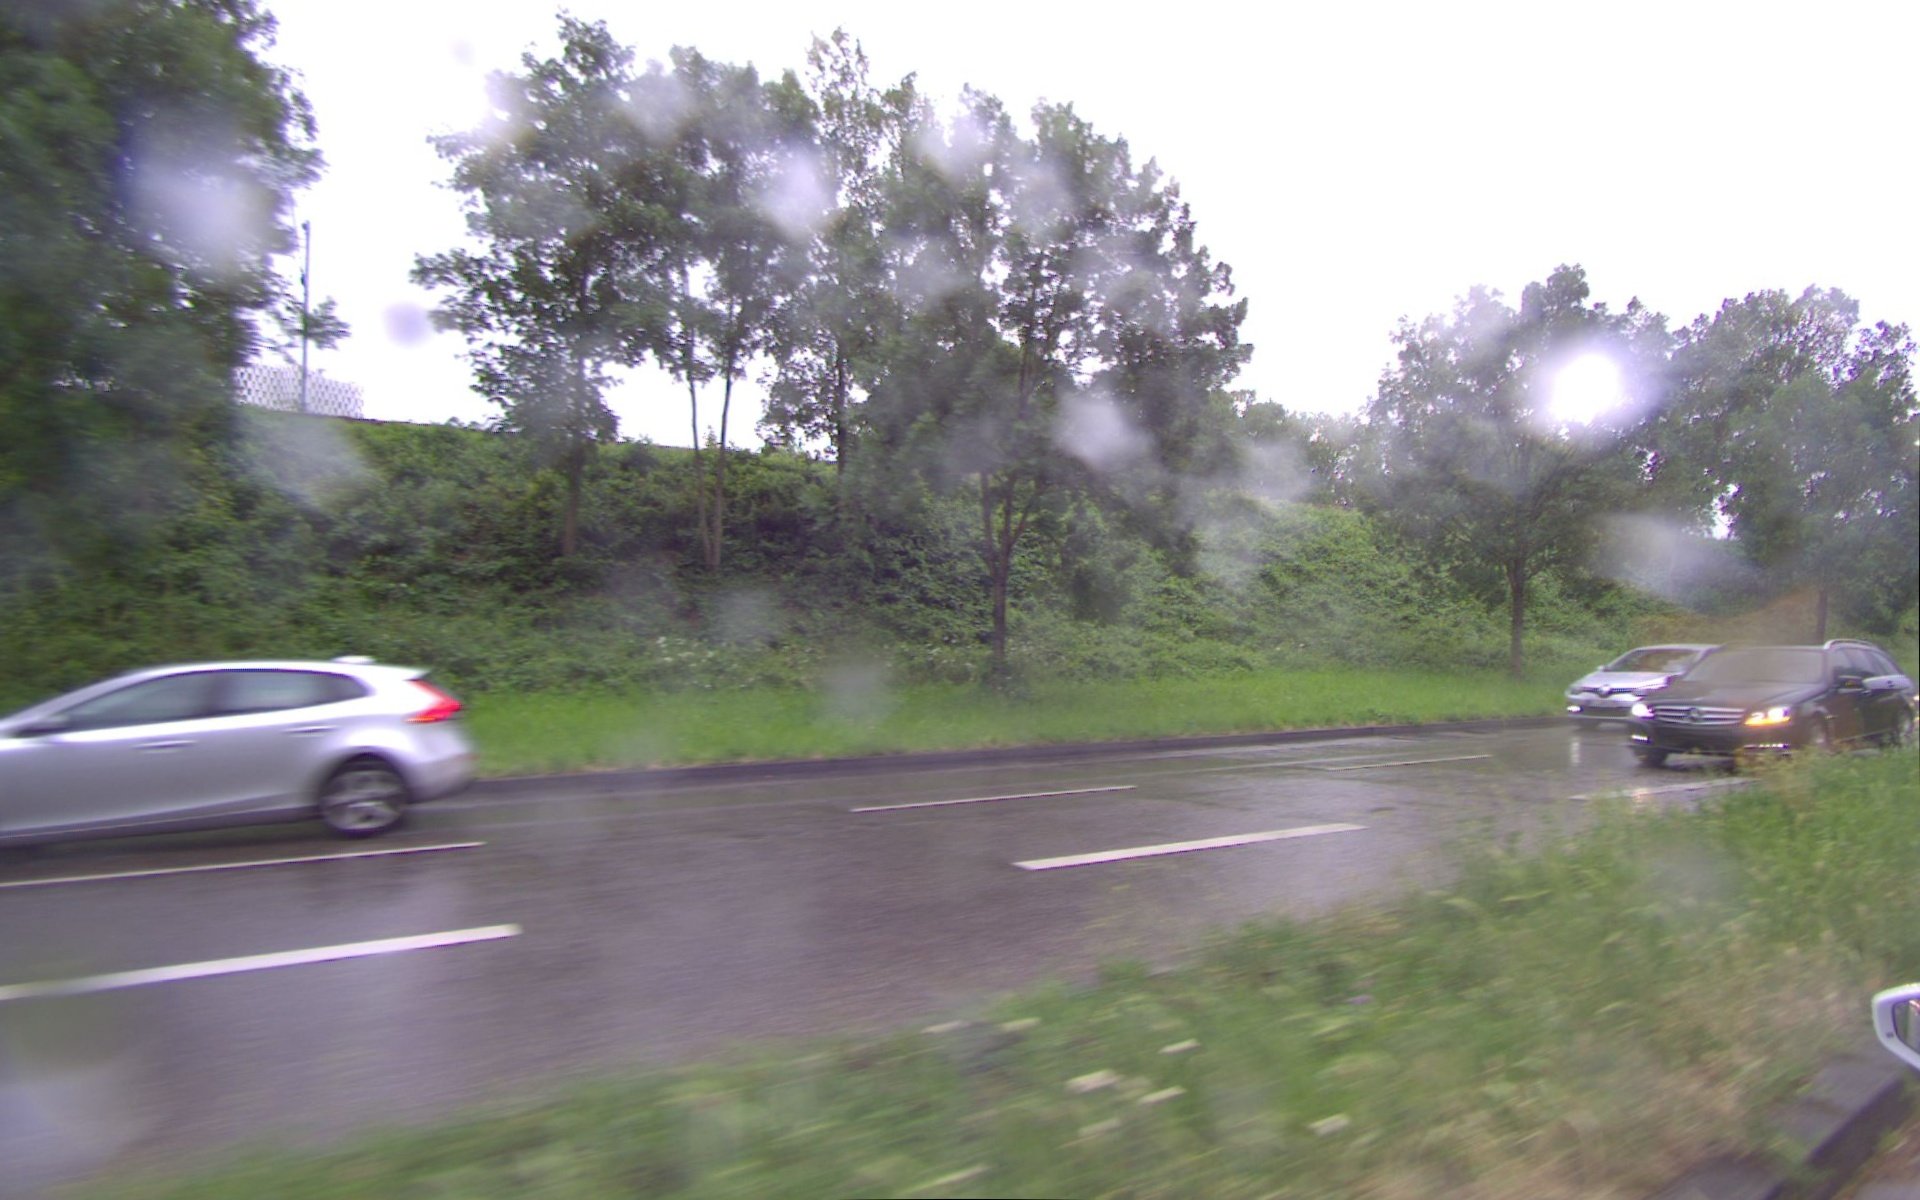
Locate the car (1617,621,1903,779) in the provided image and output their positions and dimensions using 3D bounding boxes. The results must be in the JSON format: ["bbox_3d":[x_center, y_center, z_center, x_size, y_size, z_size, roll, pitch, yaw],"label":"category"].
[{"bbox_3d":[9.988,1.133,12.400,4.671,1.594,1.893,3,-4,-41],"label":"car"}]

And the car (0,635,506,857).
[{"bbox_3d":[-6.130,1.064,8.152,4.382,1.521,1.830,1,-3,-27],"label":"car"}]

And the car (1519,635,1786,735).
[{"bbox_3d":[12.415,1.470,17.987,4.648,1.594,1.903,1,-5,-27],"label":"car"}]
